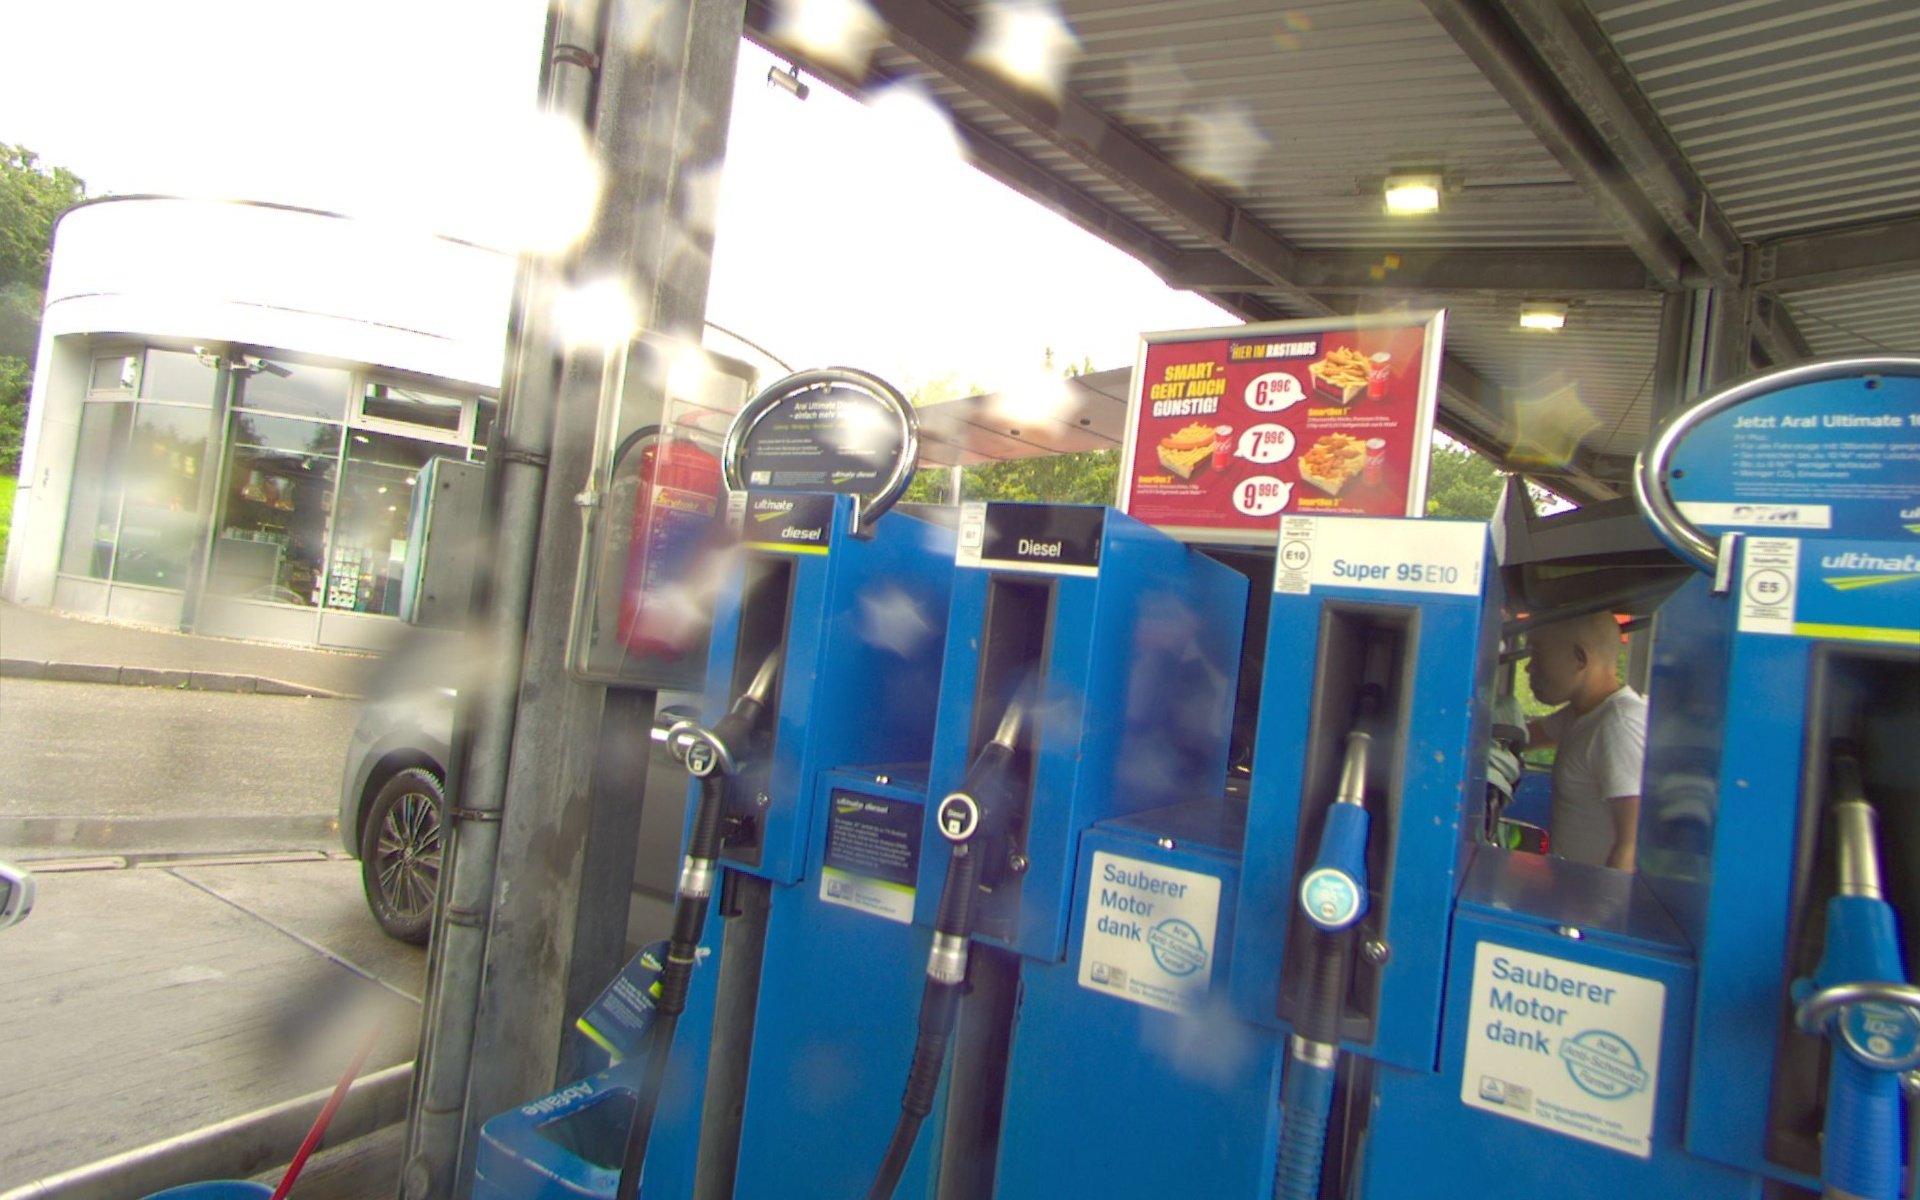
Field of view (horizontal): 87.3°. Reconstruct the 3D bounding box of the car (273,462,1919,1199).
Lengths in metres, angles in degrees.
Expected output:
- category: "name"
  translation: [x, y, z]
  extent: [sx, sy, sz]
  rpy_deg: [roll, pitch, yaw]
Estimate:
- category: "car"
  translation: [-0.144, 0.648, 3.668]
  extent: [5.055, 1.819, 1.865]
  rpy_deg: [6, -2, 32]
